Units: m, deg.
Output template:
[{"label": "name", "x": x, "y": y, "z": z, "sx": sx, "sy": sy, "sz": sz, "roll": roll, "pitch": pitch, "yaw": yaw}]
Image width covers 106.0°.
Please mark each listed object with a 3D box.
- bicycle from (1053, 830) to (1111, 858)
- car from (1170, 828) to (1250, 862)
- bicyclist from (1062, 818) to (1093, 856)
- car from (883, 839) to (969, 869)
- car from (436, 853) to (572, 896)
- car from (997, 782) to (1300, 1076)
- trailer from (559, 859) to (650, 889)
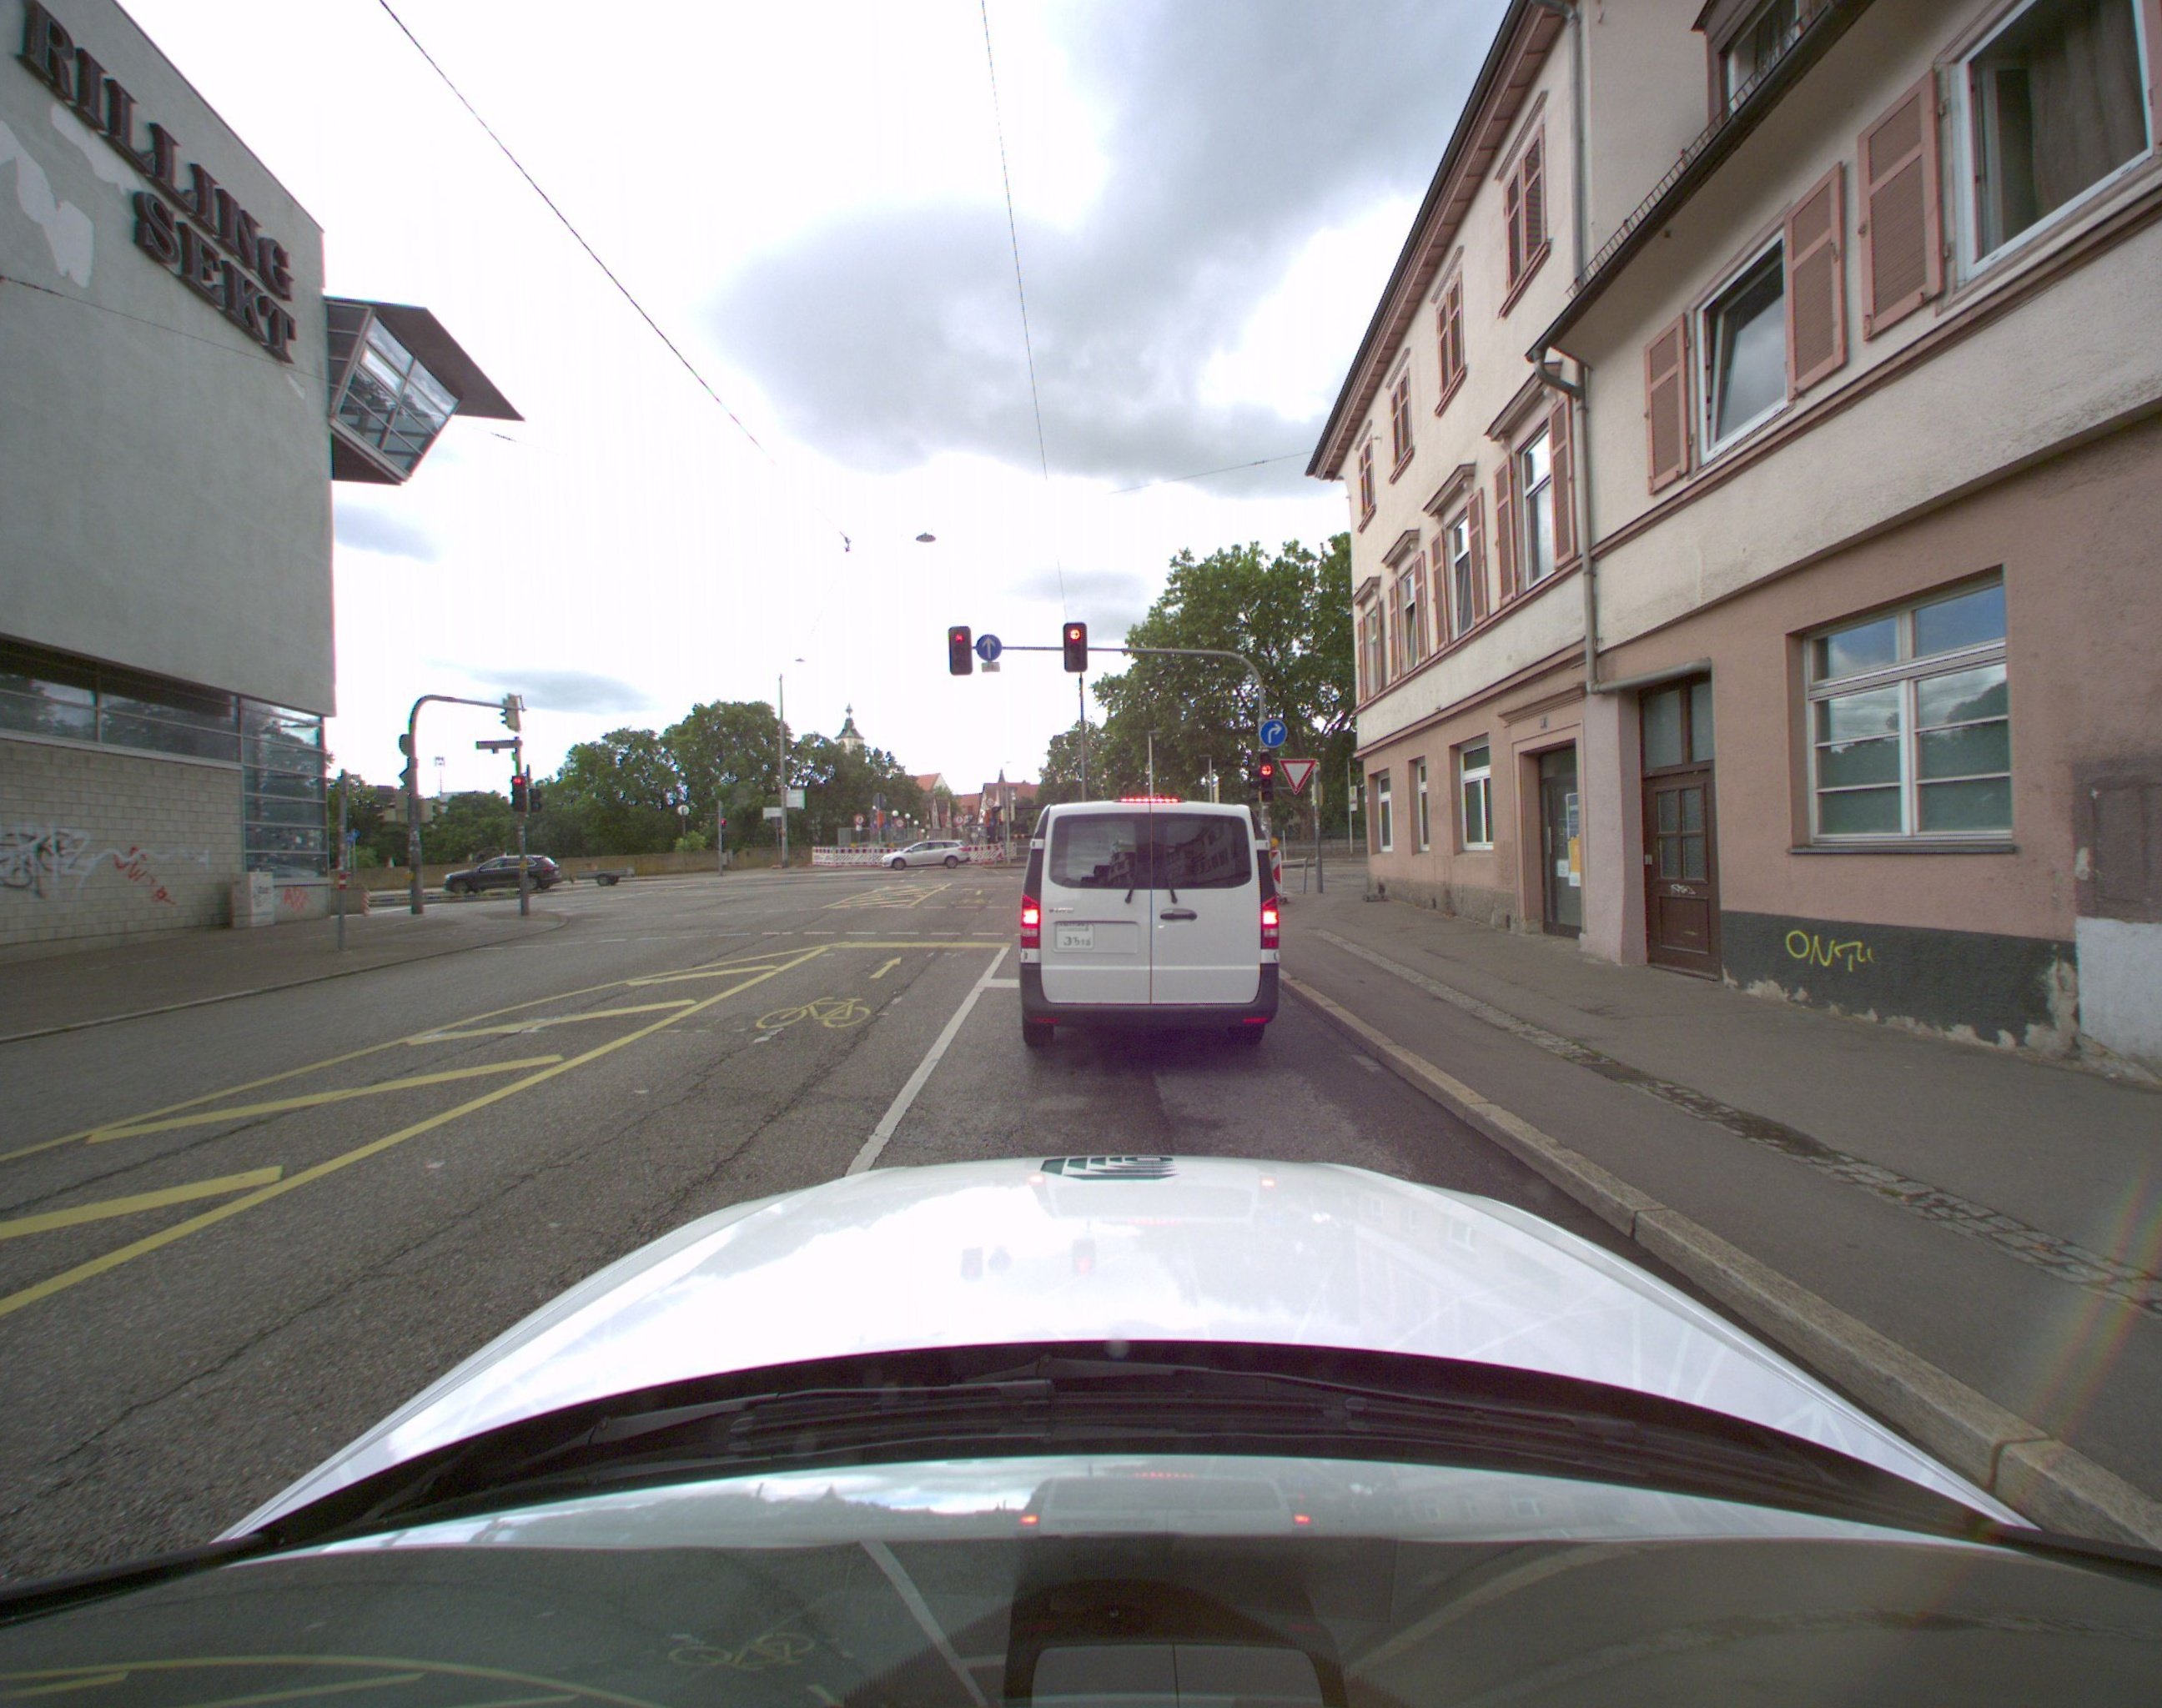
[{"label": "bicycle", "x": 0.047, "y": -0.570, "z": 47.723, "sx": 3.147, "sy": 1.569, "sz": 1.464, "roll": -2, "pitch": 0, "yaw": -12}, {"label": "car", "x": 7.099, "y": -0.472, "z": 45.013, "sx": 3.985, "sy": 1.740, "sz": 1.994, "roll": -1, "pitch": -1, "yaw": -8}, {"label": "bicyclist", "x": -0.223, "y": -0.983, "z": 47.574, "sx": 1.565, "sy": 2.156, "sz": 1.242, "roll": -2, "pitch": 0, "yaw": -12}, {"label": "car", "x": -7.991, "y": -0.006, "z": 42.274, "sx": 4.275, "sy": 1.452, "sz": 1.894, "roll": -1, "pitch": 0, "yaw": -10}, {"label": "car", "x": -26.053, "y": 0.889, "z": 36.957, "sx": 4.530, "sy": 1.634, "sz": 1.988, "roll": -3, "pitch": 0, "yaw": -17}, {"label": "car", "x": 0.495, "y": 0.435, "z": 7.503, "sx": 1.986, "sy": 1.922, "sz": 4.250, "roll": -1, "pitch": 2, "yaw": 1}, {"label": "trailer", "x": -22.318, "y": 0.910, "z": 38.271, "sx": 3.208, "sy": 1.158, "sz": 1.989, "roll": -3, "pitch": 2, "yaw": -17}]
